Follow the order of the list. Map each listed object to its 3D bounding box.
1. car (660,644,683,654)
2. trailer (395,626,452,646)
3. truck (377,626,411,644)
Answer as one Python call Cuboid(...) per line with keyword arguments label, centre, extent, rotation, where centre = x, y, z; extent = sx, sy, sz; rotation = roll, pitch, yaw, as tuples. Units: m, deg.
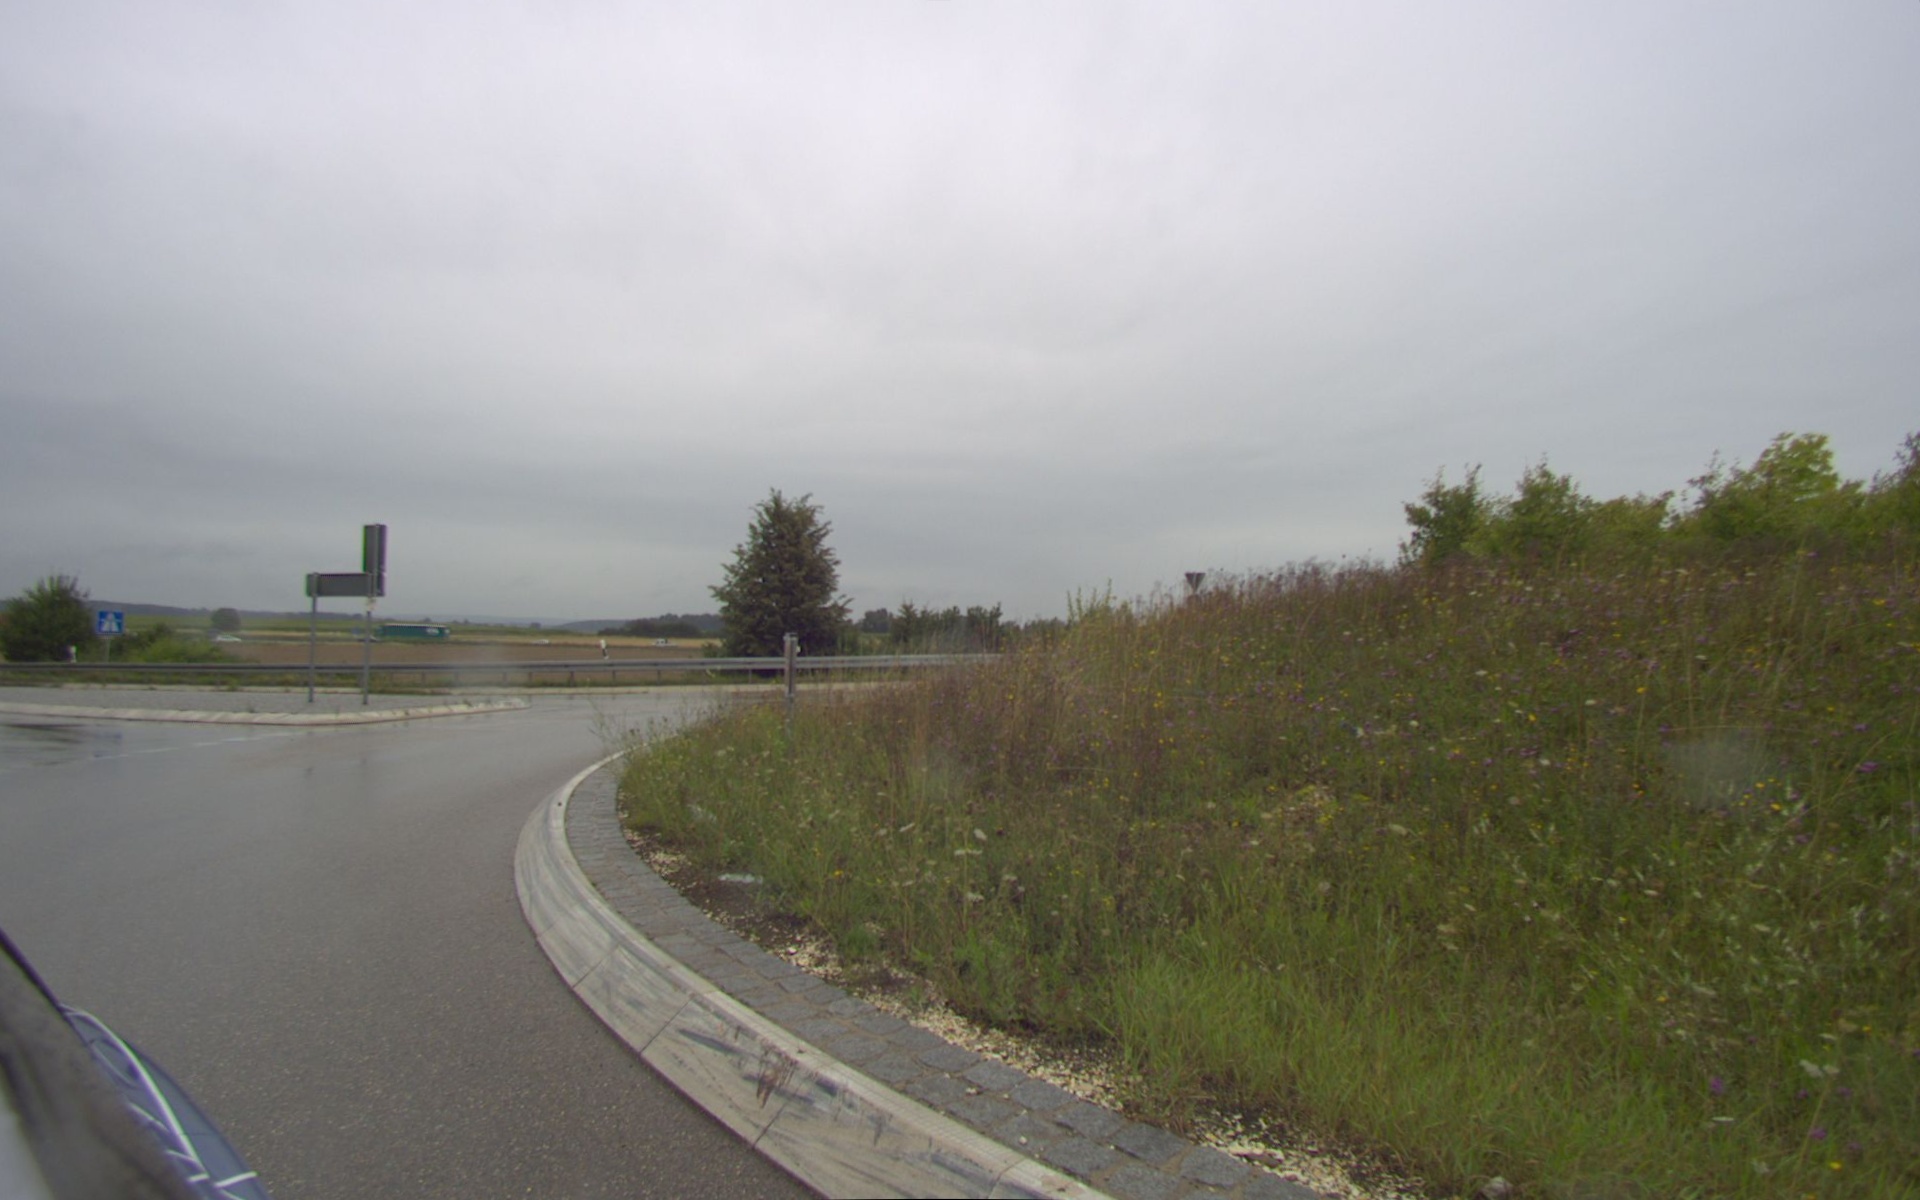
Cuboid(label="car", centre=(-66.488, 11.270, 233.250), extent=(4.750, 2.029, 1.998), rotation=(2, 0, 3))
Cuboid(label="trailer", centre=(-122.657, 8.250, 231.491), extent=(11.320, 3.917, 2.949), rotation=(2, 0, 1))
Cuboid(label="truck", centre=(-129.526, 8.030, 231.646), extent=(6.190, 3.943, 2.949), rotation=(2, 0, 1))
